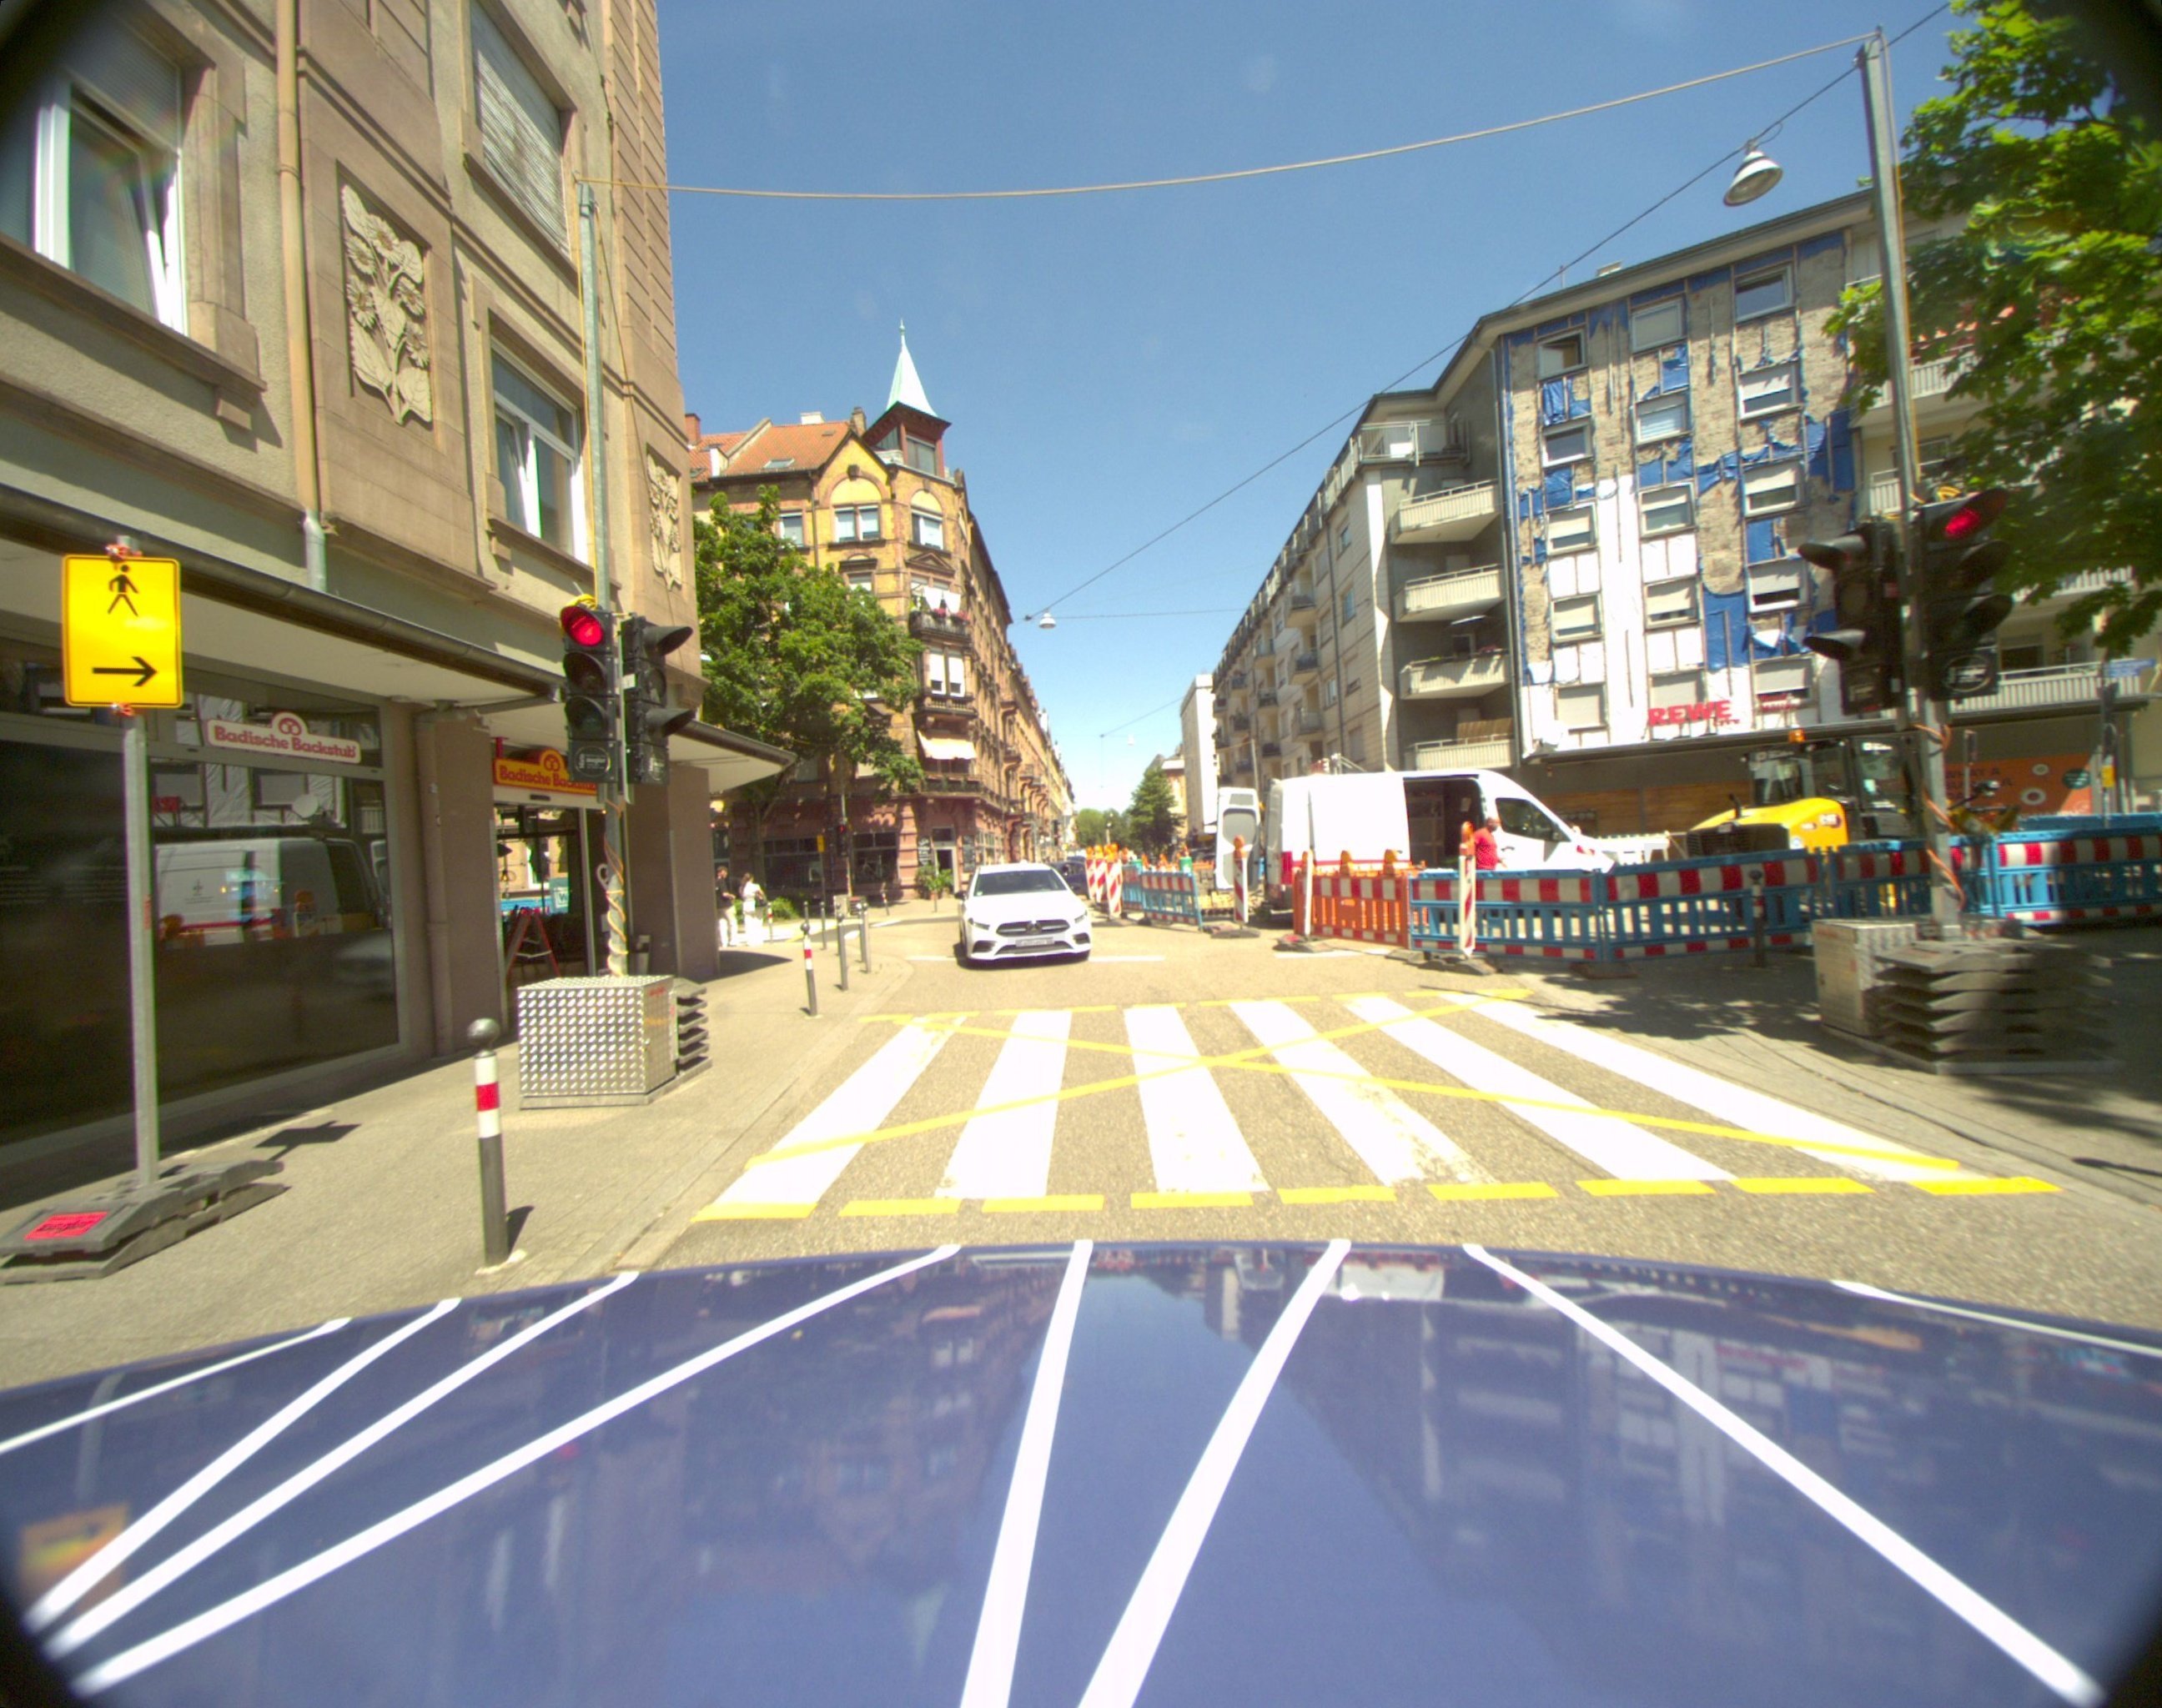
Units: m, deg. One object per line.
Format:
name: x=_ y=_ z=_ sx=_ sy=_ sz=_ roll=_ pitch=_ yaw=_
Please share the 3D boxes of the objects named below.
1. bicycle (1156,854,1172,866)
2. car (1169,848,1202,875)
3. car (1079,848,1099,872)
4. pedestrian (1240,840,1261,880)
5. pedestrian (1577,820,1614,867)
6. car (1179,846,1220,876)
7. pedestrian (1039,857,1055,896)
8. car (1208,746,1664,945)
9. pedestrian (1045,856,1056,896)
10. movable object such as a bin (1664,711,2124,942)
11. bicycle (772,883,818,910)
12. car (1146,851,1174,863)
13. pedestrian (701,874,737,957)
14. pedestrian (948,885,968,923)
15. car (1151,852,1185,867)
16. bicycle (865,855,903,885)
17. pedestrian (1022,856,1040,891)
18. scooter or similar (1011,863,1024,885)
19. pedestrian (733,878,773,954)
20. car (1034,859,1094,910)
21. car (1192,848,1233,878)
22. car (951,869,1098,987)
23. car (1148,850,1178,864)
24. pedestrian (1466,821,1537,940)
bicycle: x=8.943 y=0.659 z=81.577 sx=1.608 sy=1.084 sz=0.371 roll=-6 pitch=0 yaw=7
car: x=7.801 y=0.578 z=57.251 sx=1.793 sy=1.818 sz=4.901 roll=-5 pitch=0 yaw=2
car: x=0.993 y=0.678 z=91.263 sx=2.067 sy=2.686 sz=5.039 roll=-6 pitch=0 yaw=2
pedestrian: x=7.395 y=0.258 z=33.104 sx=0.658 sy=1.716 sz=0.632 roll=-4 pitch=0 yaw=-1
pedestrian: x=15.134 y=-0.299 z=22.357 sx=0.526 sy=1.332 sz=0.657 roll=-6 pitch=0 yaw=2
car: x=7.874 y=0.471 z=50.921 sx=1.793 sy=1.800 sz=4.699 roll=-5 pitch=0 yaw=-1
pedestrian: x=-1.389 y=0.917 z=31.310 sx=0.460 sy=1.551 sz=0.479 roll=-4 pitch=0 yaw=8
car: x=5.741 y=-0.123 z=13.155 sx=6.637 sy=2.736 sz=2.380 roll=-3 pitch=1 yaw=3
pedestrian: x=-1.305 y=0.947 z=32.599 sx=0.333 sy=1.665 sz=0.402 roll=-4 pitch=0 yaw=8
movable object such as a bin: x=10.998 y=-0.368 z=10.461 sx=4.557 sy=2.643 sz=1.954 roll=-3 pitch=-1 yaw=-8
bicycle: x=-12.059 y=1.782 z=32.097 sx=1.695 sy=1.002 sz=0.522 roll=-4 pitch=0 yaw=2
car: x=11.450 y=0.480 z=110.452 sx=3.885 sy=1.487 sz=1.652 roll=-4 pitch=0 yaw=1
pedestrian: x=-7.925 y=1.337 z=16.644 sx=0.577 sy=1.757 sz=0.471 roll=-2 pitch=-3 yaw=-6
pedestrian: x=-5.802 y=2.343 z=35.870 sx=0.725 sy=1.709 sz=0.495 roll=-4 pitch=2 yaw=-44
car: x=10.539 y=0.640 z=92.111 sx=3.885 sy=1.520 sz=1.652 roll=-4 pitch=0 yaw=1
bicycle: x=-8.429 y=0.679 z=32.545 sx=1.425 sy=1.145 sz=0.510 roll=-4 pitch=0 yaw=4
pedestrian: x=-2.557 y=0.992 z=38.704 sx=0.478 sy=1.723 sz=0.872 roll=-4 pitch=1 yaw=21
scooter or similar: x=-3.668 y=1.156 z=44.070 sx=0.293 sy=1.170 sz=1.273 roll=-4 pitch=0 yaw=11
pedestrian: x=-7.246 y=1.367 z=16.781 sx=0.703 sy=1.635 sz=0.423 roll=-2 pitch=-3 yaw=-6
car: x=-0.525 y=1.007 z=26.687 sx=1.780 sy=1.460 sz=4.000 roll=-6 pitch=0 yaw=2
car: x=7.598 y=0.529 z=44.261 sx=1.674 sy=1.516 sz=4.464 roll=-5 pitch=0 yaw=2
car: x=-1.087 y=1.003 z=12.107 sx=1.815 sy=1.417 sz=4.238 roll=-4 pitch=0 yaw=-10
car: x=11.313 y=0.388 z=104.975 sx=3.885 sy=1.737 sz=1.652 roll=-4 pitch=0 yaw=1
pedestrian: x=6.480 y=0.393 z=11.737 sx=0.526 sy=1.743 sz=0.769 roll=-6 pitch=0 yaw=2
